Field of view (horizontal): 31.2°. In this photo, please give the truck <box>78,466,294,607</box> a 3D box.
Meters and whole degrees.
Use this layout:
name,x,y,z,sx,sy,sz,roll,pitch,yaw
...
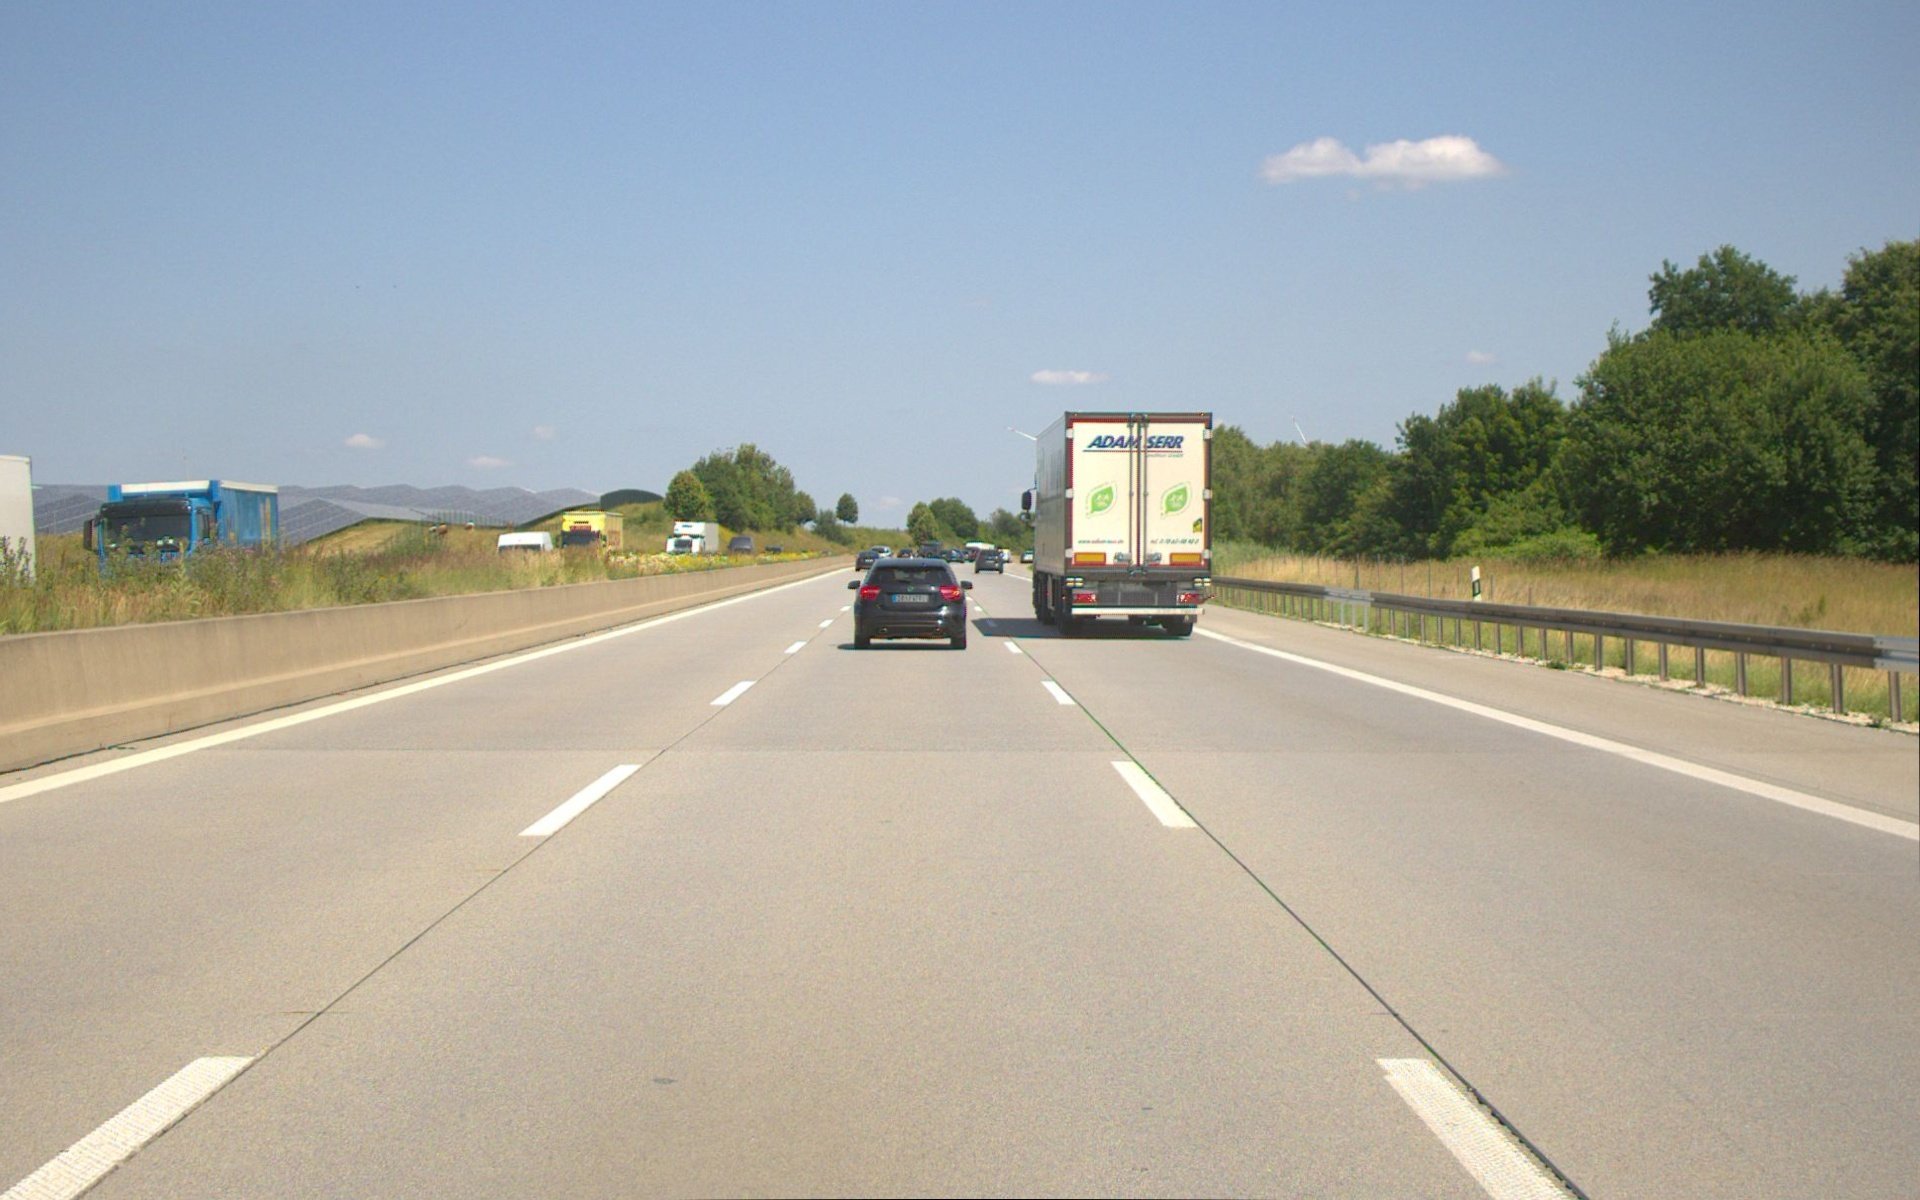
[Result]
name,x,y,z,sx,sy,sz,roll,pitch,yaw
truck,-17.948,-1.425,80.433,2.824,3.053,10.376,1,0,-1

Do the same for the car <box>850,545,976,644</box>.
name,x,y,z,sx,sy,sz,roll,pitch,yaw
car,-0.764,-0.118,55.021,1.910,1.487,4.192,1,1,-1

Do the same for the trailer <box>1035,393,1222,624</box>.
name,x,y,z,sx,sy,sz,roll,pitch,yaw
trailer,3.098,-1.693,66.661,2.852,4.029,12.714,1,1,0

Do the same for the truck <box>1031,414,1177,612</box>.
name,x,y,z,sx,sy,sz,roll,pitch,yaw
truck,3.045,-1.844,74.355,2.812,4.074,5.799,1,1,-1

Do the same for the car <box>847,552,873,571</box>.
name,x,y,z,sx,sy,sz,roll,pitch,yaw
car,-6.757,-2.621,232.156,1.655,1.192,3.960,3,1,-1

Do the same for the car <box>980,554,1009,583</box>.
name,x,y,z,sx,sy,sz,roll,pitch,yaw
car,2.280,-2.133,229.062,1.827,1.900,4.000,0,1,-1

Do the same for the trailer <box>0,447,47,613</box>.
name,x,y,z,sx,sy,sz,roll,pitch,yaw
trailer,-21.787,-1.479,70.420,3.074,3.512,11.764,1,0,0
